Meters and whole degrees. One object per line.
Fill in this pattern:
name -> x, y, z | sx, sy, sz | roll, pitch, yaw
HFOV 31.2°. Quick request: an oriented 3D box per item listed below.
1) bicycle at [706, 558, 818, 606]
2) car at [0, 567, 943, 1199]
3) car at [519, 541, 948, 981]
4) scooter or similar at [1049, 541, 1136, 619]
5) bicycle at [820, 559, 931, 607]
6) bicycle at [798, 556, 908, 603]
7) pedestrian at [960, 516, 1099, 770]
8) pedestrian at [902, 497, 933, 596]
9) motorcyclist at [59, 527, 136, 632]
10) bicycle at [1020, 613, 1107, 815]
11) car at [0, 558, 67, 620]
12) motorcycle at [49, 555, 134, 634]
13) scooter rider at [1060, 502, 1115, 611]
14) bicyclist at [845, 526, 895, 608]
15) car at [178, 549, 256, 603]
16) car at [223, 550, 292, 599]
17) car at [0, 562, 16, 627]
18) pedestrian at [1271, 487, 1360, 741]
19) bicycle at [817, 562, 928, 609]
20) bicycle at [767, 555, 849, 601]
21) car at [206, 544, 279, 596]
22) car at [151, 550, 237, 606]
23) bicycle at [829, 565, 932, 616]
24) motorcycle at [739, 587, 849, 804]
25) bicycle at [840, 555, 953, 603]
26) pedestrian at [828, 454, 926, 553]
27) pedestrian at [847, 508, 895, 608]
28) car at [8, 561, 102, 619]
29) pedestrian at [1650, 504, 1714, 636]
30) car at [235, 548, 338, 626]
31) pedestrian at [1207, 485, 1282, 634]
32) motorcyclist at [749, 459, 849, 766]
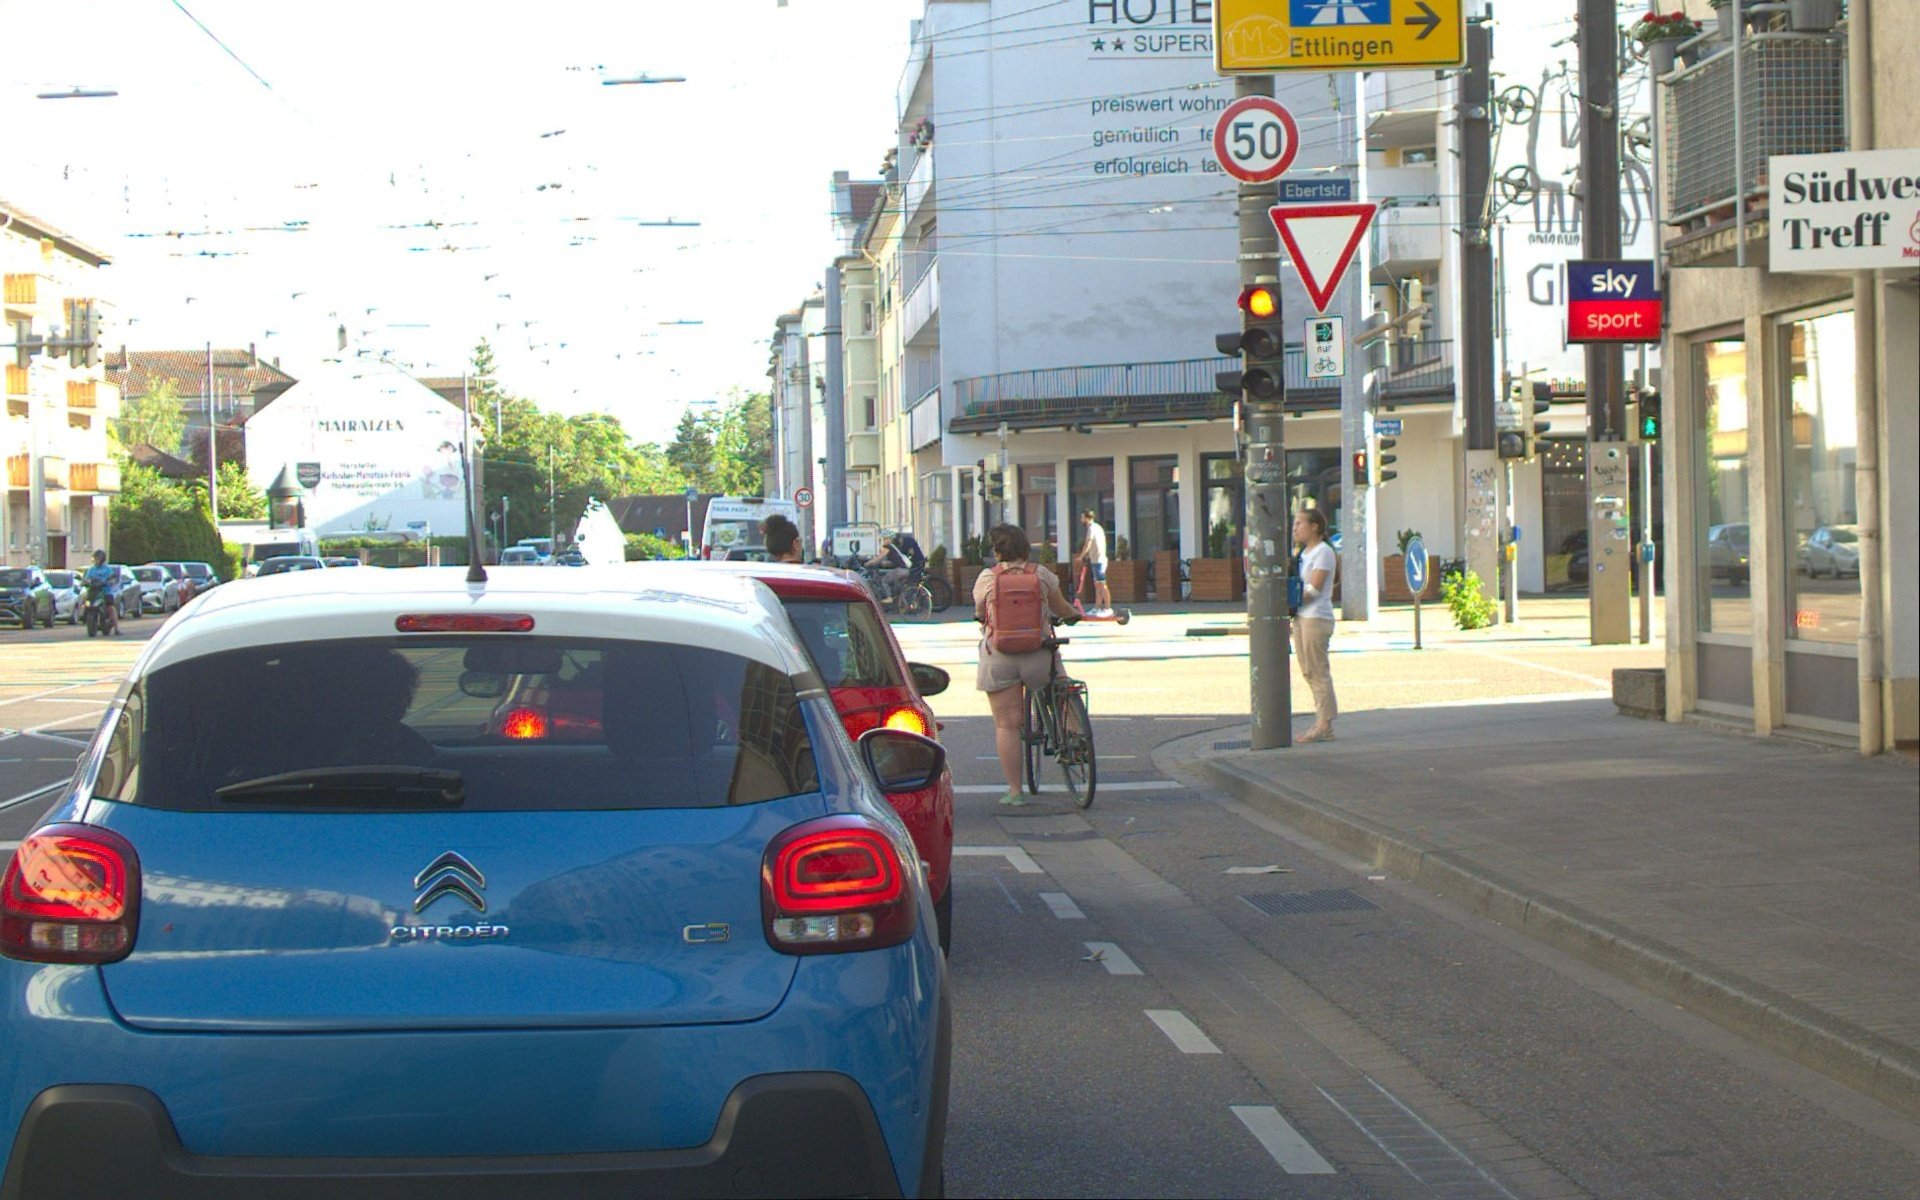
bicycle -> -3.817, -0.353, 66.274 | 2.132, 0.898, 0.367 | 1, 0, -9
car -> -0.884, 0.663, 7.170 | 1.654, 1.439, 3.523 | 1, 1, -1
car -> -0.785, 0.536, 13.144 | 1.424, 1.462, 2.924 | -1, 0, -1
scooter or similar -> 2.247, -0.336, 58.339 | 1.351, 1.265, 0.443 | -2, 0, 19
bicycle -> -1.651, -0.332, 67.102 | 2.132, 0.898, 0.367 | 1, 0, -9
bicycle -> -2.124, -0.411, 68.284 | 2.132, 0.898, 0.367 | 1, 0, -9
pedestrian -> 0.400, 0.245, 20.230 | 0.777, 1.455, 0.682 | 1, 0, -1
pedestrian -> -0.875, -1.090, 70.130 | 0.577, 2.007, 0.626 | 1, 0, -3
motorcyclist -> -16.830, -0.401, 67.096 | 1.185, 2.007, 1.276 | -1, 1, -3
bicycle -> 0.608, 0.654, 20.639 | 0.427, 1.119, 1.998 | 1, 1, -1
car -> -23.664, -0.299, 86.116 | 1.785, 1.493, 4.001 | 1, 1, -4
motorcycle -> -16.870, -0.119, 66.866 | 0.923, 1.481, 3.726 | 1, 1, -3
scooter rider -> 2.169, -0.736, 58.352 | 0.722, 1.826, 0.717 | -1, 1, 19
bicyclist -> -1.638, -0.598, 62.715 | 0.746, 1.472, 0.562 | 1, 0, 18
car -> -24.024, -0.788, 111.314 | 1.882, 1.681, 4.001 | 1, 1, -4
car -> -24.762, -0.899, 121.244 | 1.846, 1.681, 3.875 | 1, 1, -4
car -> -23.227, -0.139, 79.403 | 1.787, 1.506, 4.150 | 1, 1, -2
pedestrian -> 2.520, 0.094, 24.402 | 0.517, 1.777, 0.595 | 1, 0, -2
bicycle -> -1.718, -0.285, 67.539 | 2.132, 0.898, 0.367 | 1, 0, -9
bicycle -> -3.077, -0.448, 69.450 | 1.785, 0.898, 0.366 | 1, 1, 34
car -> -24.332, -1.022, 116.688 | 1.833, 1.681, 4.001 | 1, 1, -4
car -> -23.653, -0.698, 106.270 | 1.983, 1.681, 4.001 | 1, 1, -3
bicycle -> -1.456, -0.183, 62.676 | 1.855, 0.900, 0.349 | 1, 0, 19
motorcycle -> -0.921, 0.503, 19.442 | 0.526, 1.136, 2.290 | 1, 1, -1
bicycle -> -1.215, -0.400, 66.048 | 2.132, 0.898, 0.367 | 1, 0, -9
pedestrian -> -1.749, -2.039, 73.536 | 1.993, 2.007, 4.000 | 1, 1, -1
pedestrian -> -1.794, -0.845, 69.117 | 0.630, 2.007, 0.724 | 1, 0, -36
car -> -24.219, -0.282, 92.082 | 1.732, 1.493, 4.001 | 1, 1, -5
pedestrian -> 8.864, -0.370, 42.199 | 0.736, 1.595, 0.748 | 1, 0, 13
car -> -14.938, -0.310, 76.424 | 1.774, 1.660, 3.857 | 1, 1, -4
pedestrian -> 3.878, -0.547, 46.952 | 0.926, 2.007, 0.759 | 1, 0, -1
motorcyclist -> -0.914, 0.068, 19.625 | 0.526, 1.710, 0.717 | 1, 0, -1
